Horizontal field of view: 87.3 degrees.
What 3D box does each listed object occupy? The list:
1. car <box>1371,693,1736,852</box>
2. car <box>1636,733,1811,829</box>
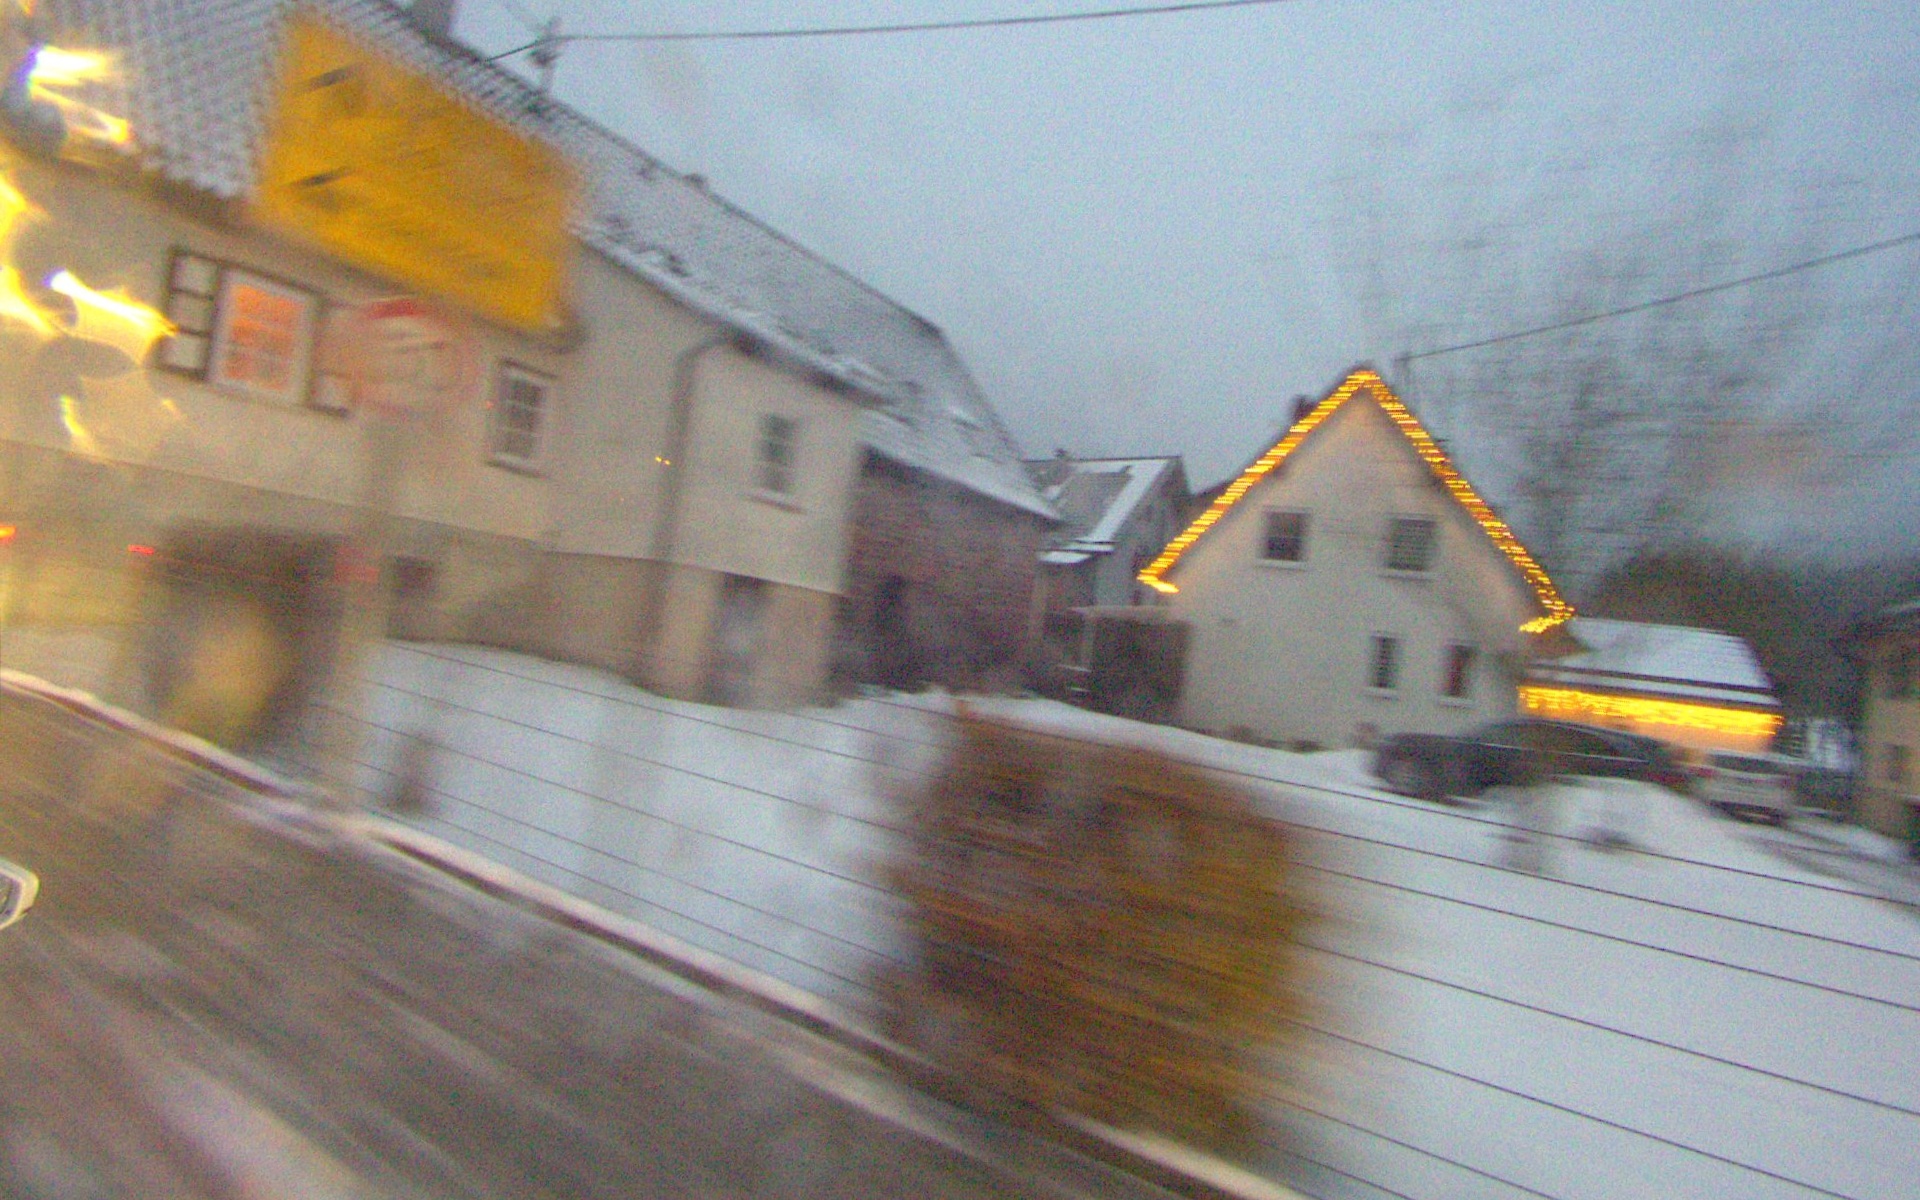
[{"bbox_3d":[9.315,2.621,16.028,2.315,1.627,4.471,9,-3,-44],"label":"car"},{"bbox_3d":[16.898,3.944,22.520,2.015,1.518,4.094,6,-3,23],"label":"car"}]
